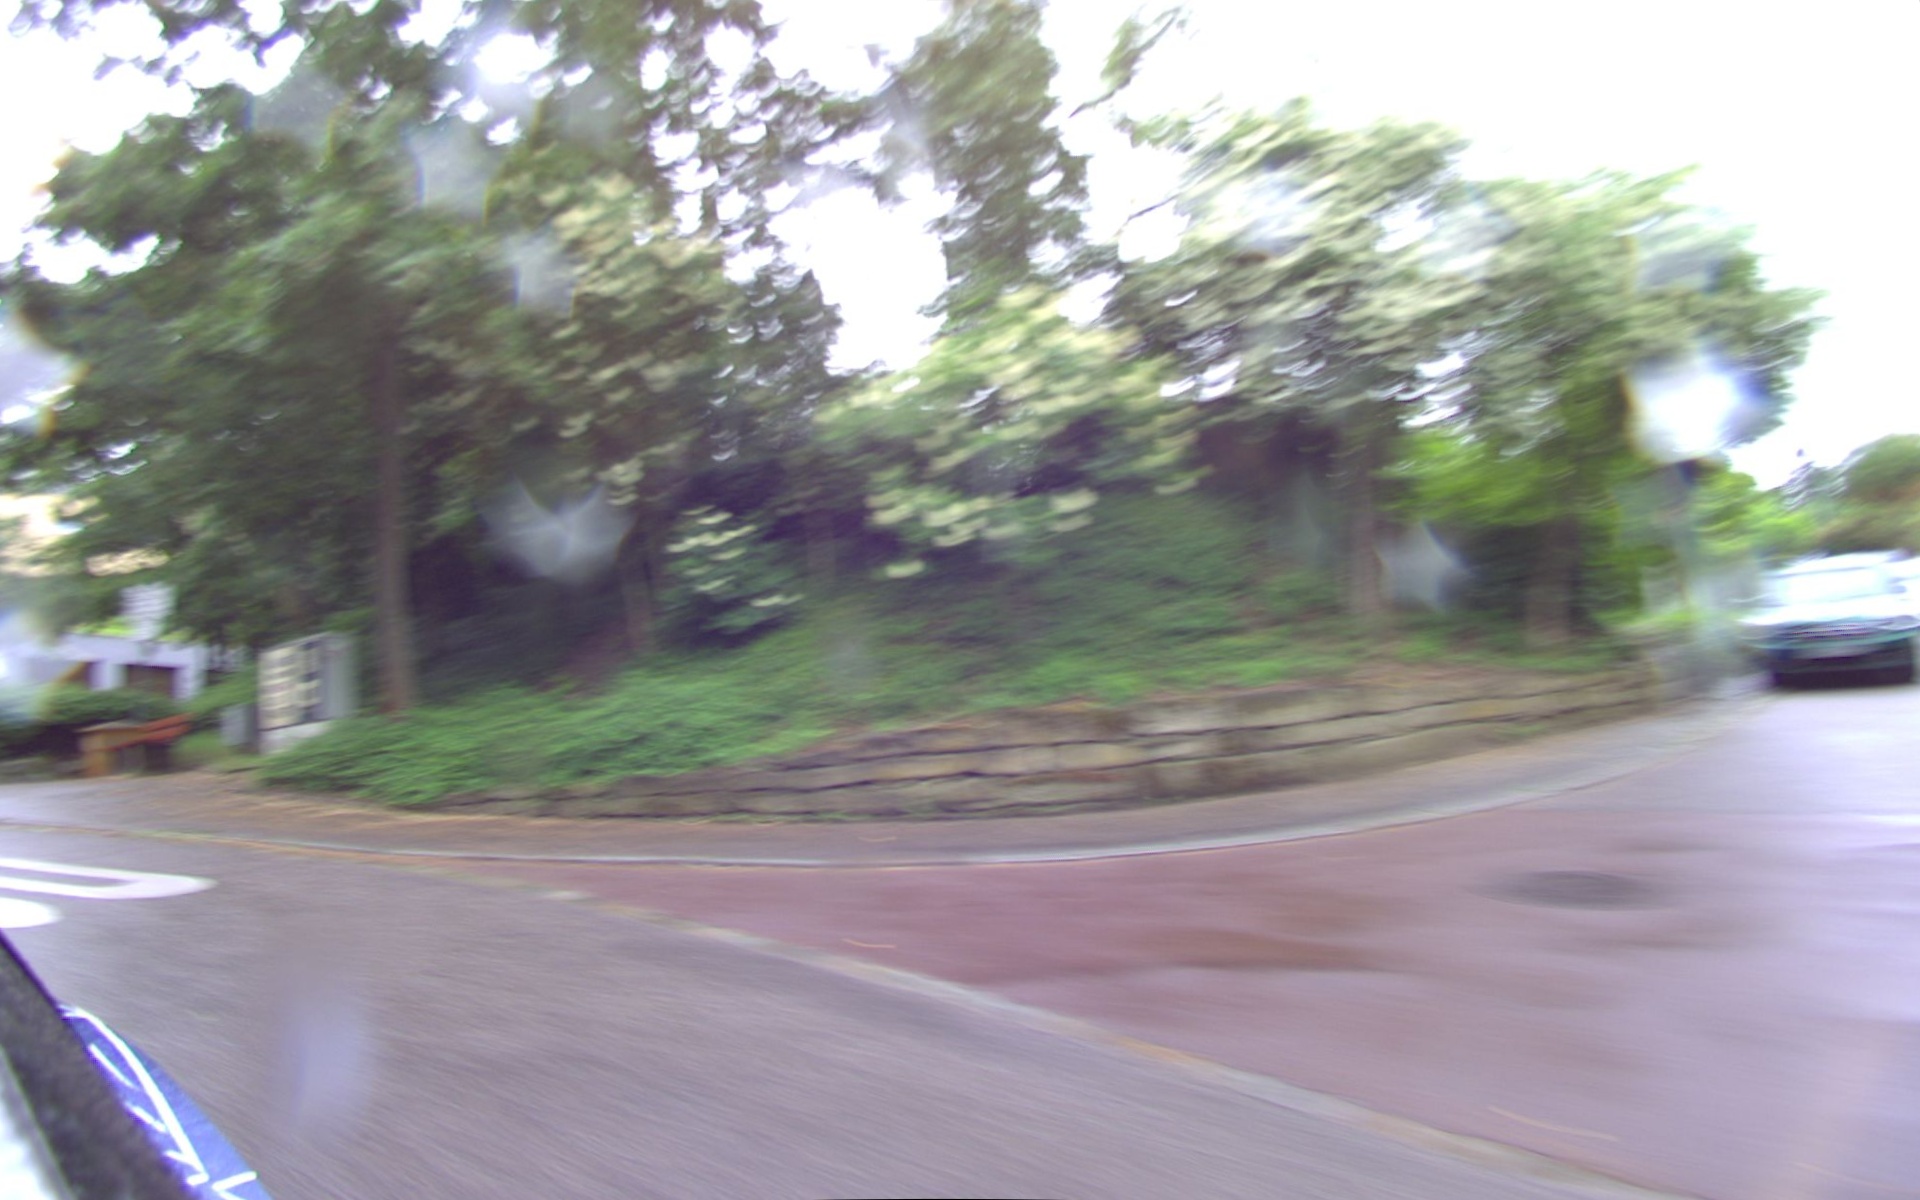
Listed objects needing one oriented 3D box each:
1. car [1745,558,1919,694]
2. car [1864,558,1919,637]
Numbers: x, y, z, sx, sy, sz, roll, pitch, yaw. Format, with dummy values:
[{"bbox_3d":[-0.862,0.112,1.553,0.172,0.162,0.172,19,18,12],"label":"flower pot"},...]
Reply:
[{"bbox_3d":[12.121,0.262,13.426,3.939,1.473,1.841,-3,-6,-42],"label":"car"},{"bbox_3d":[20.272,-0.063,21.098,1.839,1.517,3.941,-4,-3,45],"label":"car"}]
